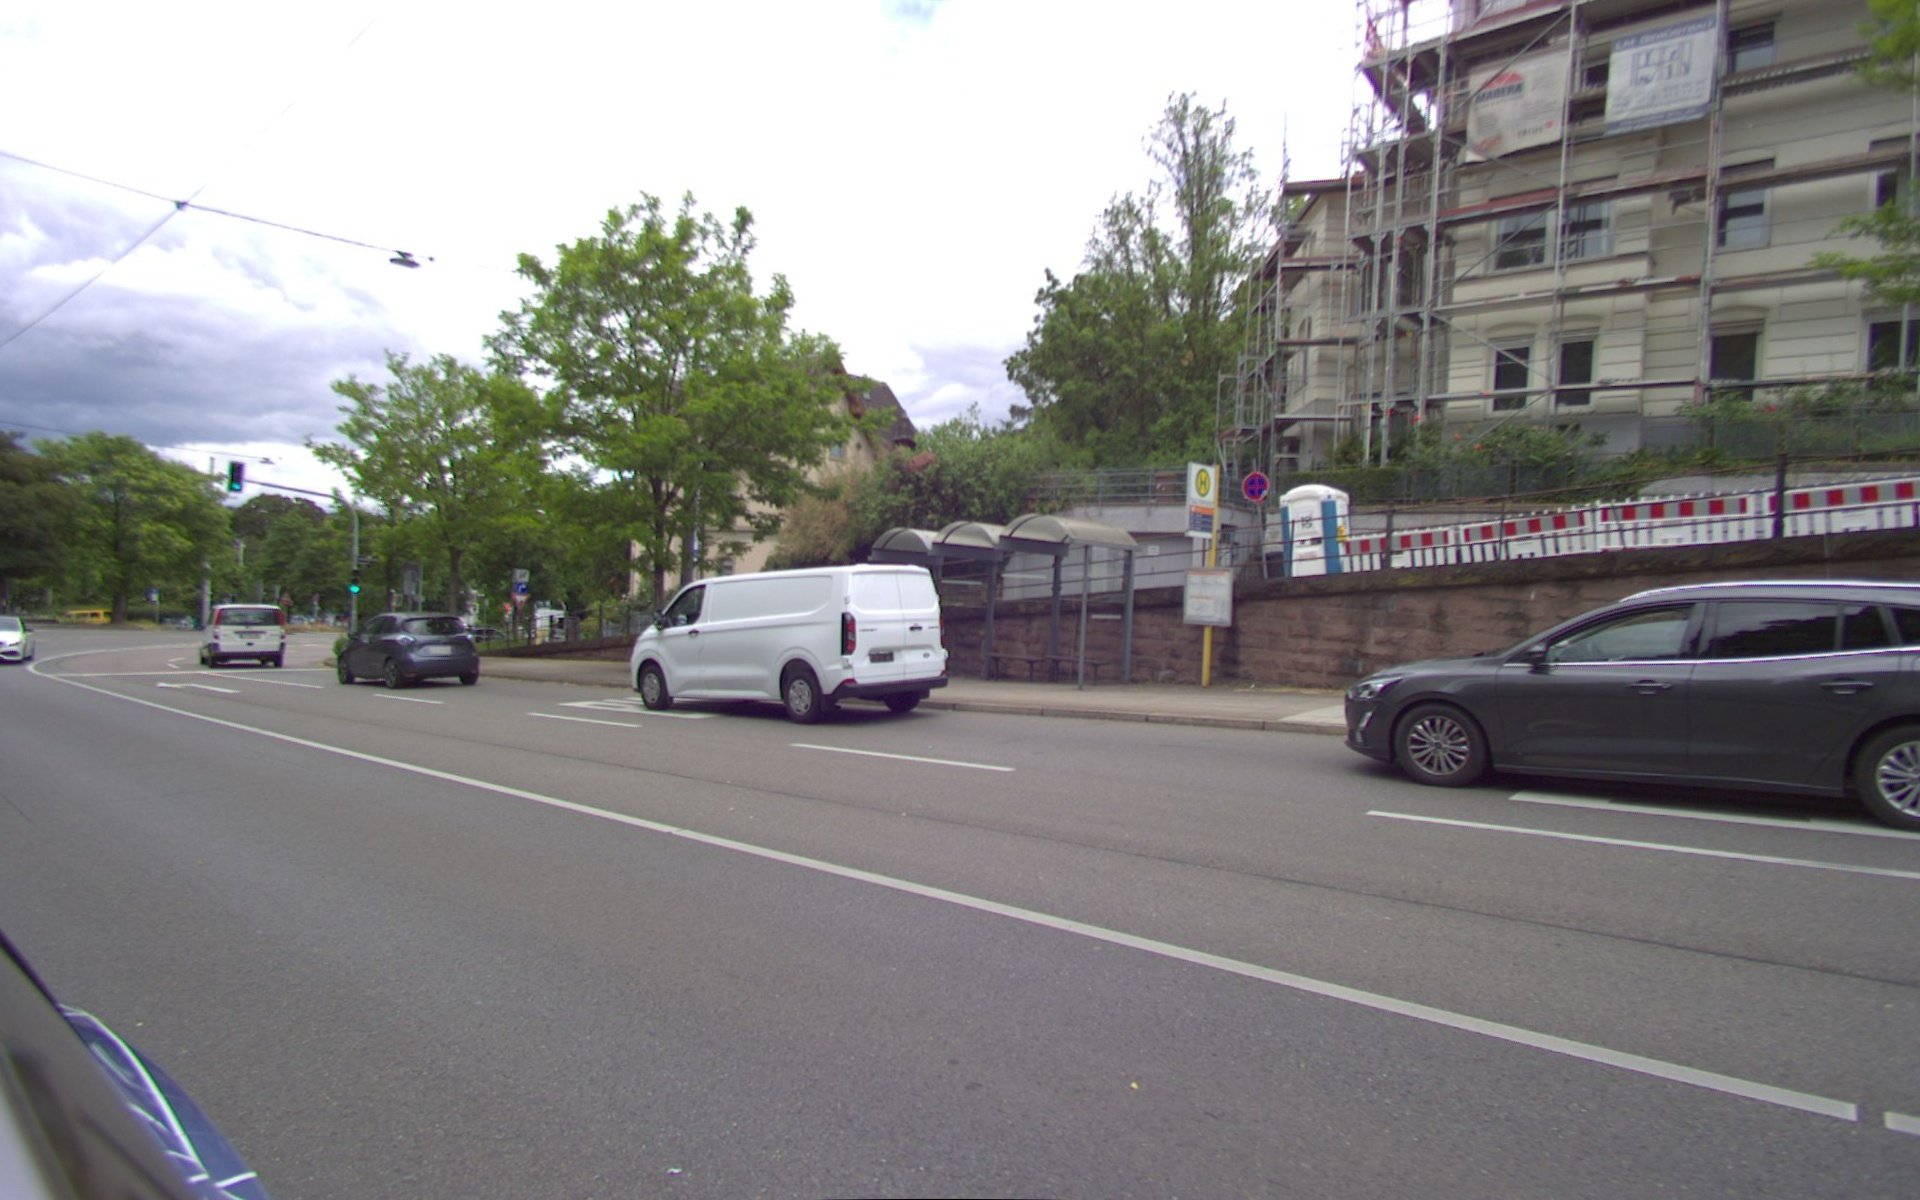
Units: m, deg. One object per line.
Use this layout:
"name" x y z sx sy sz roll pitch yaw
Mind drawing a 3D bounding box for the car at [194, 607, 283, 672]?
"car" -22.555 1.208 31.548 1.771 1.878 4.857 2 -3 -41

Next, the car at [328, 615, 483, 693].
"car" -11.866 1.095 21.572 3.799 1.503 1.677 -2 -1 41

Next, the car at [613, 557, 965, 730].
"car" -2.626 0.575 14.401 5.423 2.029 1.972 -2 -1 42

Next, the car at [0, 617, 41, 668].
"car" -29.589 1.256 30.770 1.886 1.489 4.537 2 -2 -36

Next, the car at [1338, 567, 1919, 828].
"car" 5.250 0.562 7.046 4.611 1.484 1.639 -2 0 43

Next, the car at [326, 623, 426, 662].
"car" -23.372 1.722 40.566 1.548 1.484 3.091 -1 -3 42
